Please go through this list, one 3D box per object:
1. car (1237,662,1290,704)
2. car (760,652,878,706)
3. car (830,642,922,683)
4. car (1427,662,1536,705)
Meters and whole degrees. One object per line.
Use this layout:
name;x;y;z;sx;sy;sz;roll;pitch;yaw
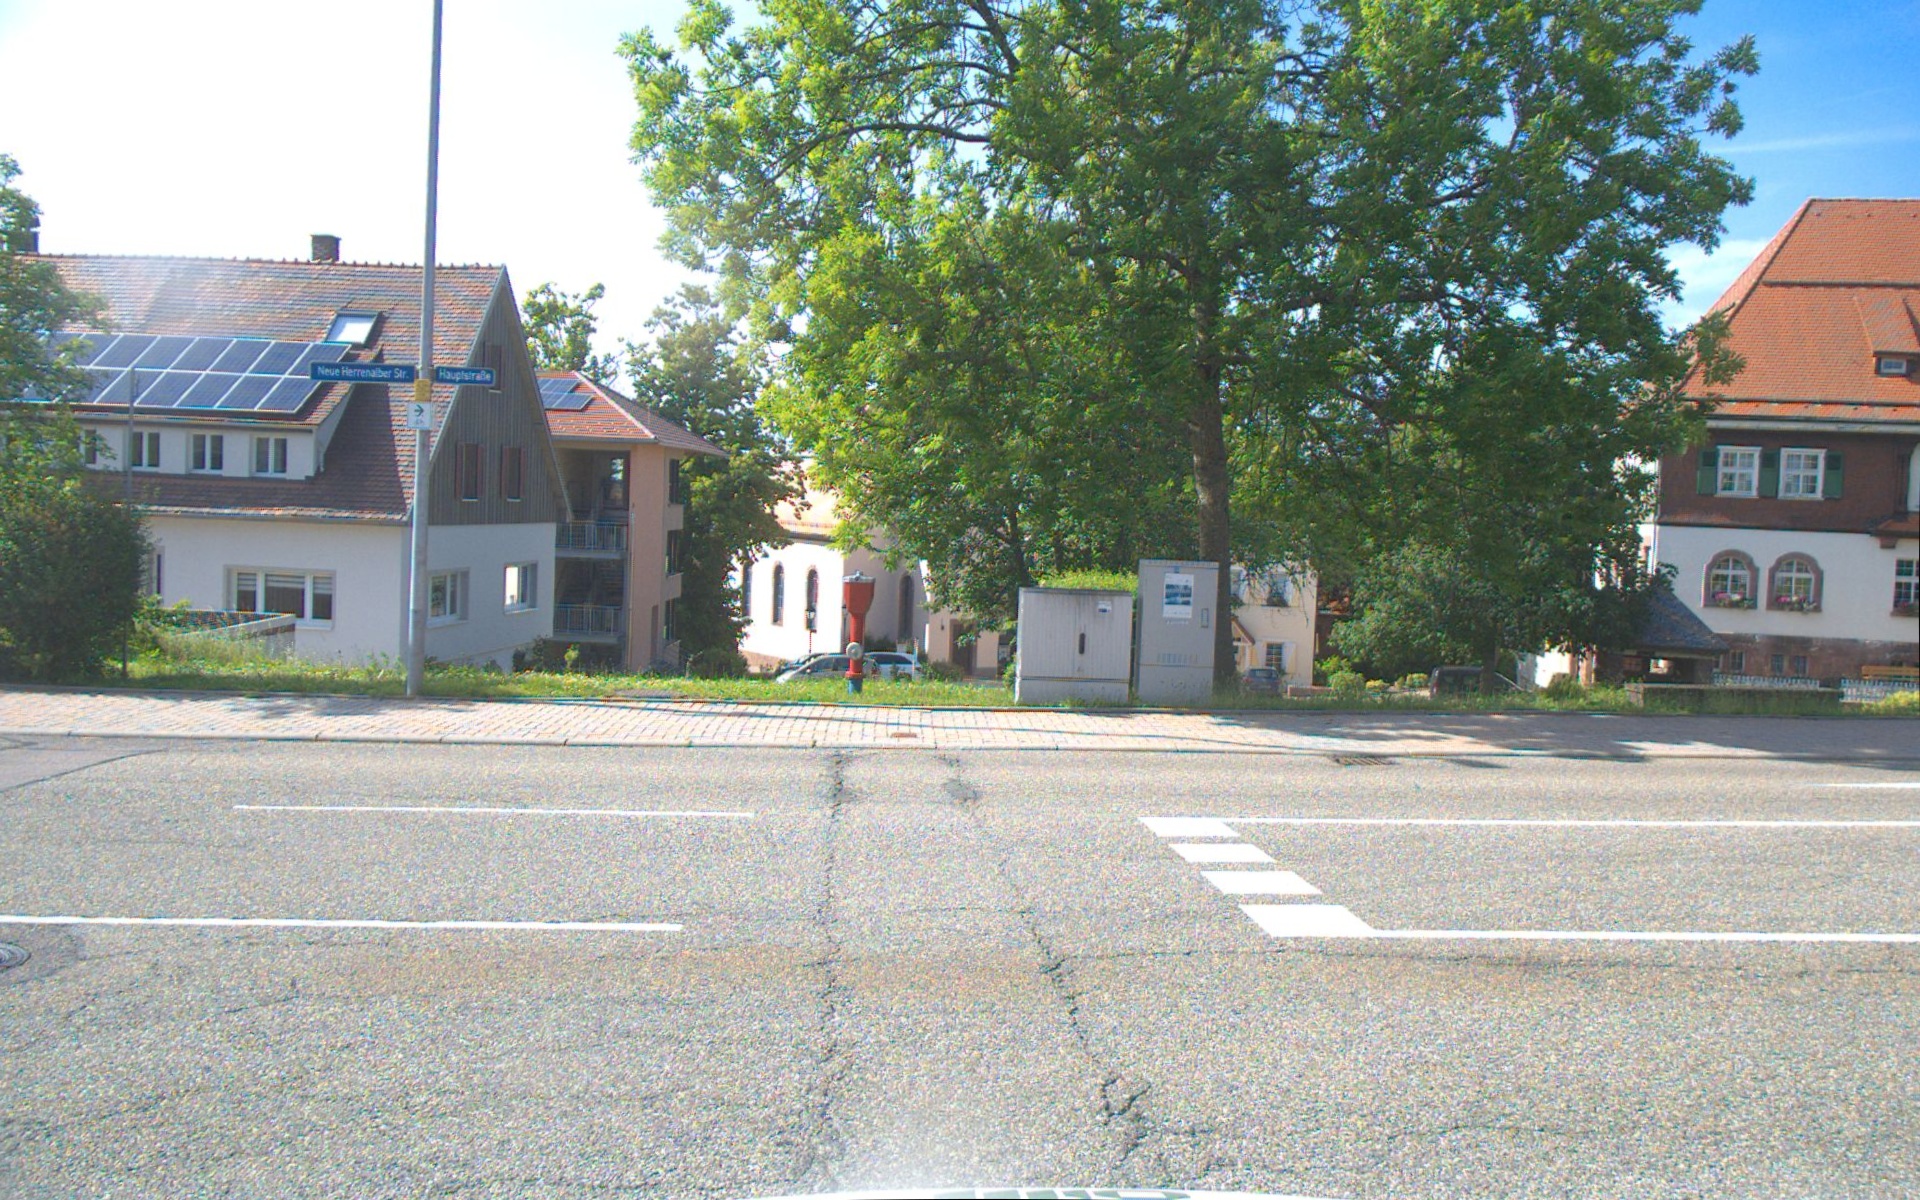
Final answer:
car;12.444;3.384;68.051;1.672;1.569;3.787;1;0;3
car;-4.899;2.732;57.528;4.011;1.789;1.711;1;-1;-6
car;-3.486;2.574;68.398;3.700;1.621;1.711;1;-1;-7
car;19.459;3.100;61.839;3.692;1.470;1.715;1;-1;11
